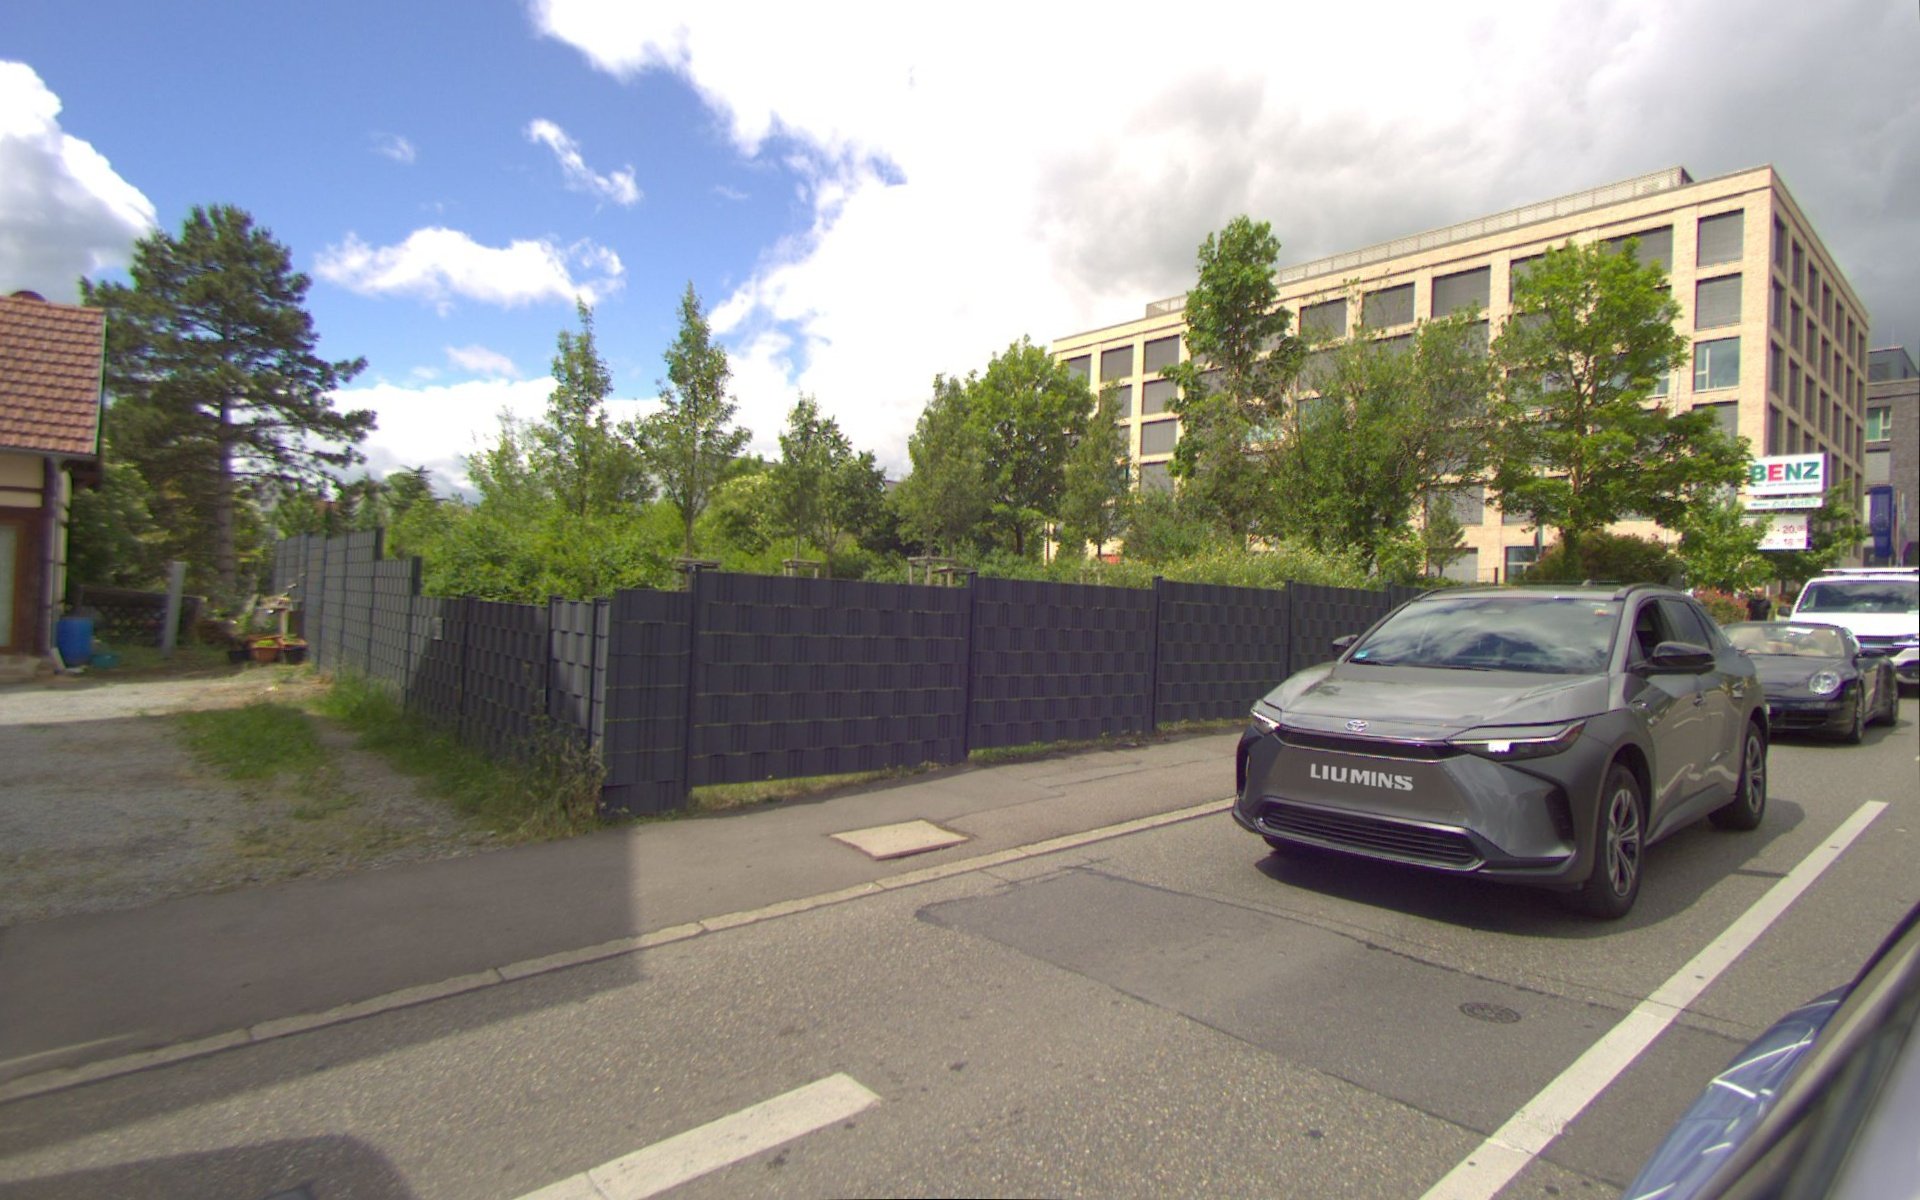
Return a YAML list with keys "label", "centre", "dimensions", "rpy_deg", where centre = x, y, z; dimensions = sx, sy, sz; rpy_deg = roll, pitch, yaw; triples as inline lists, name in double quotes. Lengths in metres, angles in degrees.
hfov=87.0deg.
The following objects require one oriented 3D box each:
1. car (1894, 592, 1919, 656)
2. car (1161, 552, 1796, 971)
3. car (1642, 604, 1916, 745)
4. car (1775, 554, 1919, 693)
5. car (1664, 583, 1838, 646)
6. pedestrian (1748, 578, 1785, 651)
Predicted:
- label: "car"
  centre: [24.477, 0.579, 24.862]
  dimensions: [3.930, 1.481, 1.817]
  rpy_deg: [0, 2, -41]
- label: "car"
  centre: [3.430, 0.602, 6.240]
  dimensions: [4.501, 1.649, 1.997]
  rpy_deg: [0, 1, -42]
- label: "car"
  centre: [9.611, 0.730, 11.778]
  dimensions: [3.968, 1.310, 1.823]
  rpy_deg: [-1, 0, -41]
- label: "car"
  centre: [15.670, 0.335, 17.172]
  dimensions: [4.677, 2.075, 2.087]
  rpy_deg: [0, 0, -41]
- label: "car"
  centre: [24.223, 0.379, 31.080]
  dimensions: [1.793, 1.754, 3.991]
  rpy_deg: [0, 2, -44]
- label: "pedestrian"
  centre: [19.475, 0.337, 24.444]
  dimensions: [0.544, 1.741, 0.602]
  rpy_deg: [0, 1, -40]
